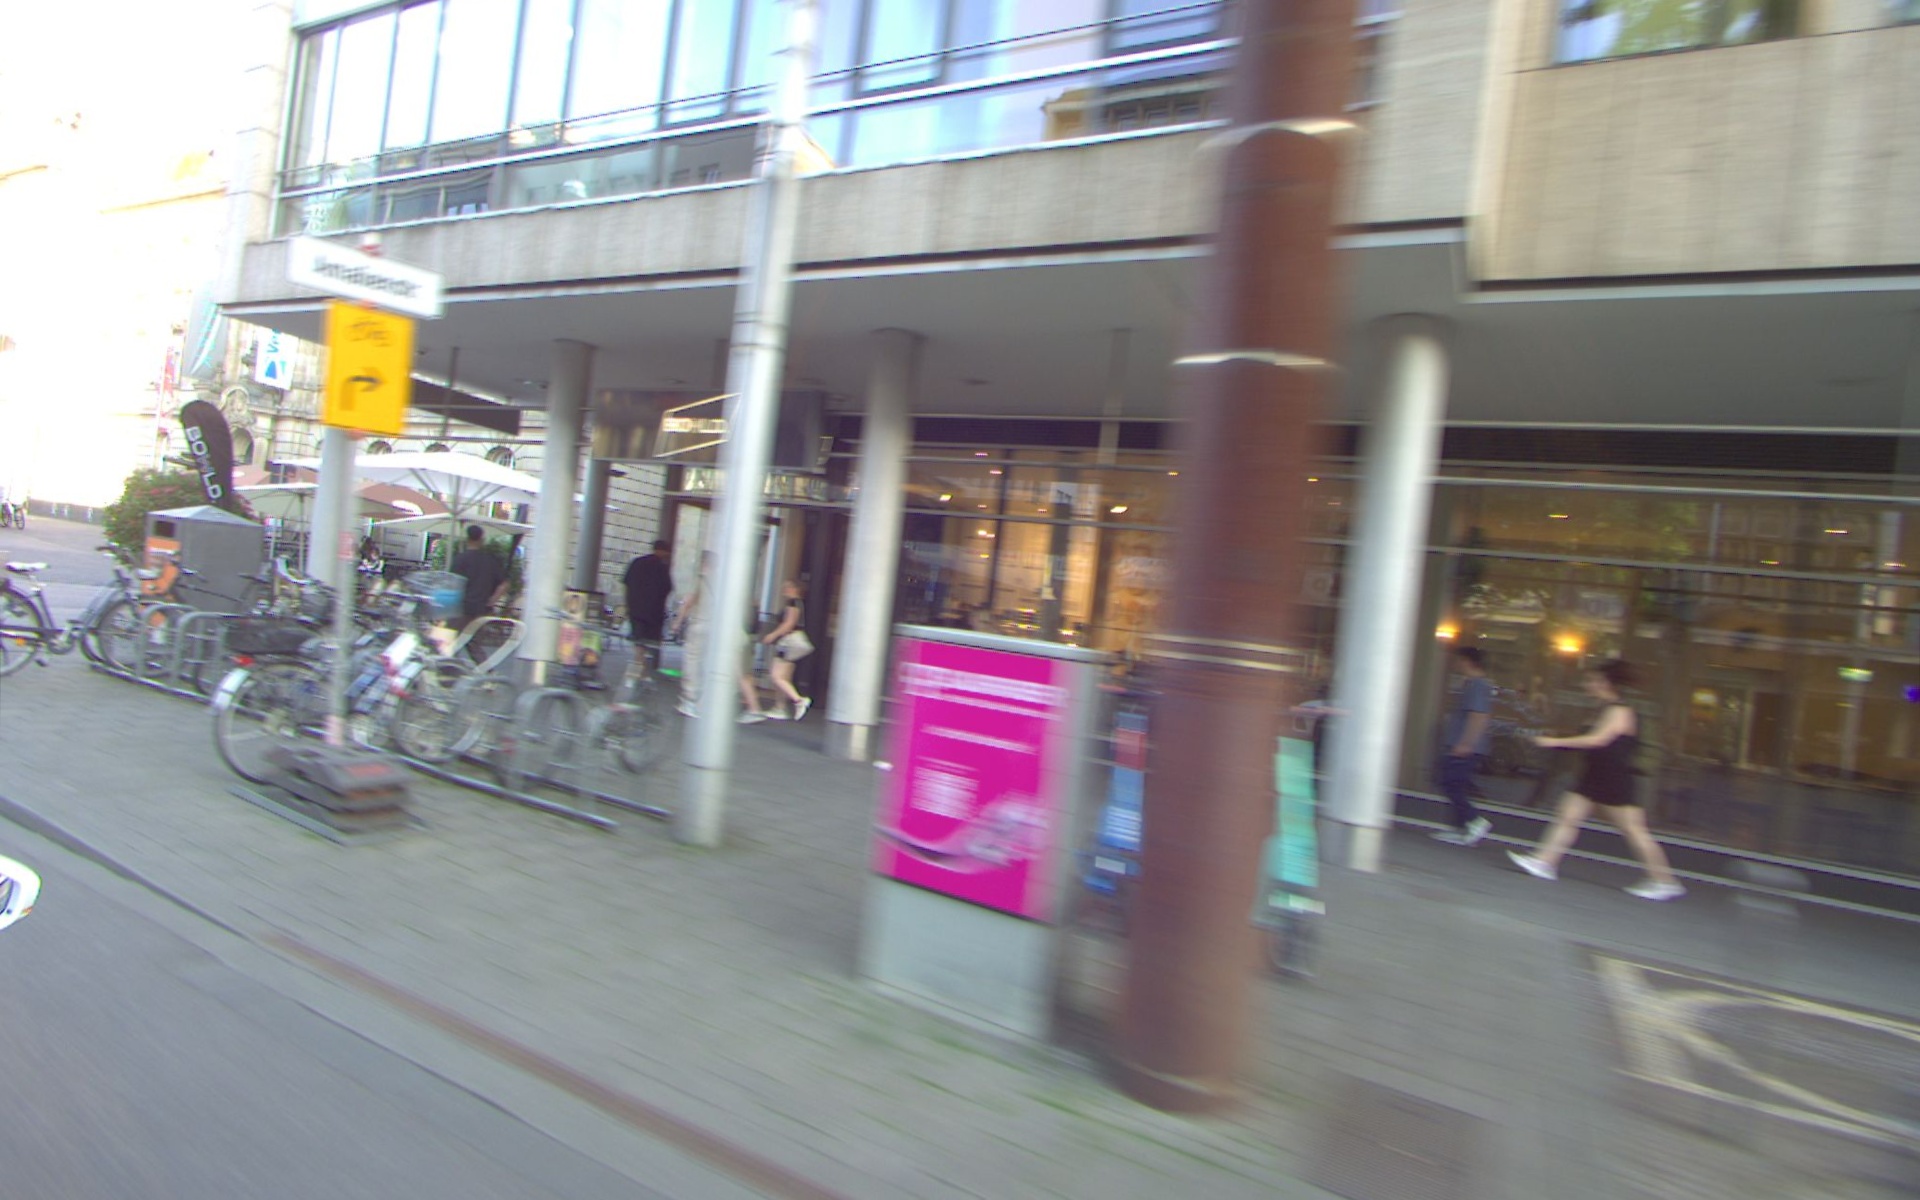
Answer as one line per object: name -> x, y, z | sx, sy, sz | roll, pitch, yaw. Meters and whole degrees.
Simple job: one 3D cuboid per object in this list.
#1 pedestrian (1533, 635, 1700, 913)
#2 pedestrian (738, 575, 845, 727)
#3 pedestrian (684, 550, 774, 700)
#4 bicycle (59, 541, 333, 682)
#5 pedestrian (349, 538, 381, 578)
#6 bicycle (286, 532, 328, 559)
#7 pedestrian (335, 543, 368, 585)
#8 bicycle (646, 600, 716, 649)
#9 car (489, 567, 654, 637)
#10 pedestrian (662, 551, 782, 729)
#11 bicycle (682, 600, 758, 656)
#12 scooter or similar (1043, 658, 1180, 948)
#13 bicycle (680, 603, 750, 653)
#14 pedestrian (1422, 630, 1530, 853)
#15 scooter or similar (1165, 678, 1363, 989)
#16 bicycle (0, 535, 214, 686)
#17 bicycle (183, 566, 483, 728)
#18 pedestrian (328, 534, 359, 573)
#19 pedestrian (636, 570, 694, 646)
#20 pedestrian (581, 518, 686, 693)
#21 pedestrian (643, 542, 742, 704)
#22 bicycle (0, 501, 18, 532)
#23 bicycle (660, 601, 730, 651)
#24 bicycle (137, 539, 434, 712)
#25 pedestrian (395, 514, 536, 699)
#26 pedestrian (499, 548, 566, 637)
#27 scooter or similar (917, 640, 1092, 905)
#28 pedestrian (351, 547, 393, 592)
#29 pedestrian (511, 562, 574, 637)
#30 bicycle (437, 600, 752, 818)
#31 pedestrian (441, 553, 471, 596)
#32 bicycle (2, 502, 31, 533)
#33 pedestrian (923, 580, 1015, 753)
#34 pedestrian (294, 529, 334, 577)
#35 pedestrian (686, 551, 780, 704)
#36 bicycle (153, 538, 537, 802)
pedestrian -> 4.698, 1.198, 7.262 | 0.760, 1.794, 0.774 | 7, 1, 28
pedestrian -> -1.872, 0.563, 11.269 | 0.795, 1.555, 0.805 | 7, 1, 11
pedestrian -> -3.041, 0.332, 13.260 | 0.708, 1.871, 0.663 | 7, 1, 34
bicycle -> -6.986, 0.139, 9.324 | 0.655, 1.122, 1.856 | 7, 0, 26
pedestrian -> -21.827, -1.535, 36.932 | 0.598, 1.324, 0.609 | 10, 1, 24
bicycle -> -25.909, -2.170, 39.947 | 0.403, 0.905, 1.321 | 8, 0, 24
pedestrian -> -19.932, -1.176, 32.935 | 0.691, 1.241, 0.614 | 10, 1, 43
bicycle -> -6.837, 0.606, 24.765 | 0.551, 1.053, 1.683 | 5, -2, 29
car -> -10.696, 0.104, 28.019 | 1.745, 1.425, 4.050 | 6, -2, 27
pedestrian -> -2.491, 0.412, 10.595 | 0.795, 1.716, 0.805 | 7, 1, 11
bicycle -> -5.407, 0.650, 22.796 | 0.537, 1.130, 1.811 | 5, -2, 27
scooter or similar -> 0.763, 0.998, 5.346 | 0.386, 1.267, 1.191 | 7, 1, 0
bicycle -> -5.862, 0.693, 24.168 | 0.551, 1.053, 1.683 | 5, -2, 29
pedestrian -> 4.391, 1.174, 8.578 | 0.606, 1.753, 0.571 | 7, 1, 28
scooter or similar -> 1.478, 1.097, 5.081 | 0.488, 1.267, 1.115 | 7, 1, -1
bicycle -> -7.389, 0.089, 8.268 | 0.655, 1.122, 1.856 | 7, 0, 26
bicycle -> -4.994, 0.365, 8.181 | 0.749, 1.091, 1.919 | 7, 1, 24
pedestrian -> -22.867, -1.726, 37.331 | 0.571, 1.324, 0.594 | 10, 1, 24
pedestrian -> -7.785, 0.220, 26.570 | 0.858, 1.862, 0.867 | 10, 1, 23
pedestrian -> -4.025, 0.077, 12.418 | 0.769, 2.039, 0.687 | 7, 1, 29
pedestrian -> -3.177, 0.279, 11.959 | 0.707, 1.809, 0.664 | 7, 1, 29
bicycle -> -30.374, -2.668, 31.940 | 0.983, 0.878, 0.316 | 7, 1, 28
bicycle -> -6.426, 0.651, 24.474 | 0.551, 1.053, 1.683 | 5, -2, 29
bicycle -> -5.622, 0.216, 8.539 | 0.749, 1.238, 1.919 | 7, 1, 24
pedestrian -> -5.033, 0.069, 10.247 | 0.908, 1.740, 0.764 | 6, 0, 30
pedestrian -> -9.701, -0.170, 22.827 | 0.859, 1.860, 0.806 | 7, -2, 28
scooter or similar -> 0.214, 0.927, 5.756 | 0.388, 1.267, 1.184 | 7, 1, -23
pedestrian -> -18.728, -0.978, 32.037 | 0.816, 1.257, 0.778 | 10, 0, 43
pedestrian -> -9.817, -0.004, 23.654 | 0.859, 1.599, 0.806 | 7, -2, 28
bicycle -> -2.339, 0.658, 6.764 | 0.712, 1.170, 2.000 | 7, 1, 24
pedestrian -> -17.354, -0.868, 34.649 | 0.659, 1.325, 0.765 | 7, 3, -37
bicycle -> -30.223, -2.637, 32.228 | 0.983, 0.878, 0.316 | 7, 1, 28
pedestrian -> 0.103, 0.709, 10.839 | 0.606, 1.753, 0.571 | 7, 1, 28
pedestrian -> -21.267, -1.549, 33.128 | 0.643, 1.399, 0.803 | 10, 0, 39
pedestrian -> -2.841, 0.349, 12.609 | 0.707, 1.809, 0.664 | 7, 1, 29
bicycle -> -3.751, 0.398, 6.355 | 0.712, 1.350, 1.919 | 7, 1, 24
